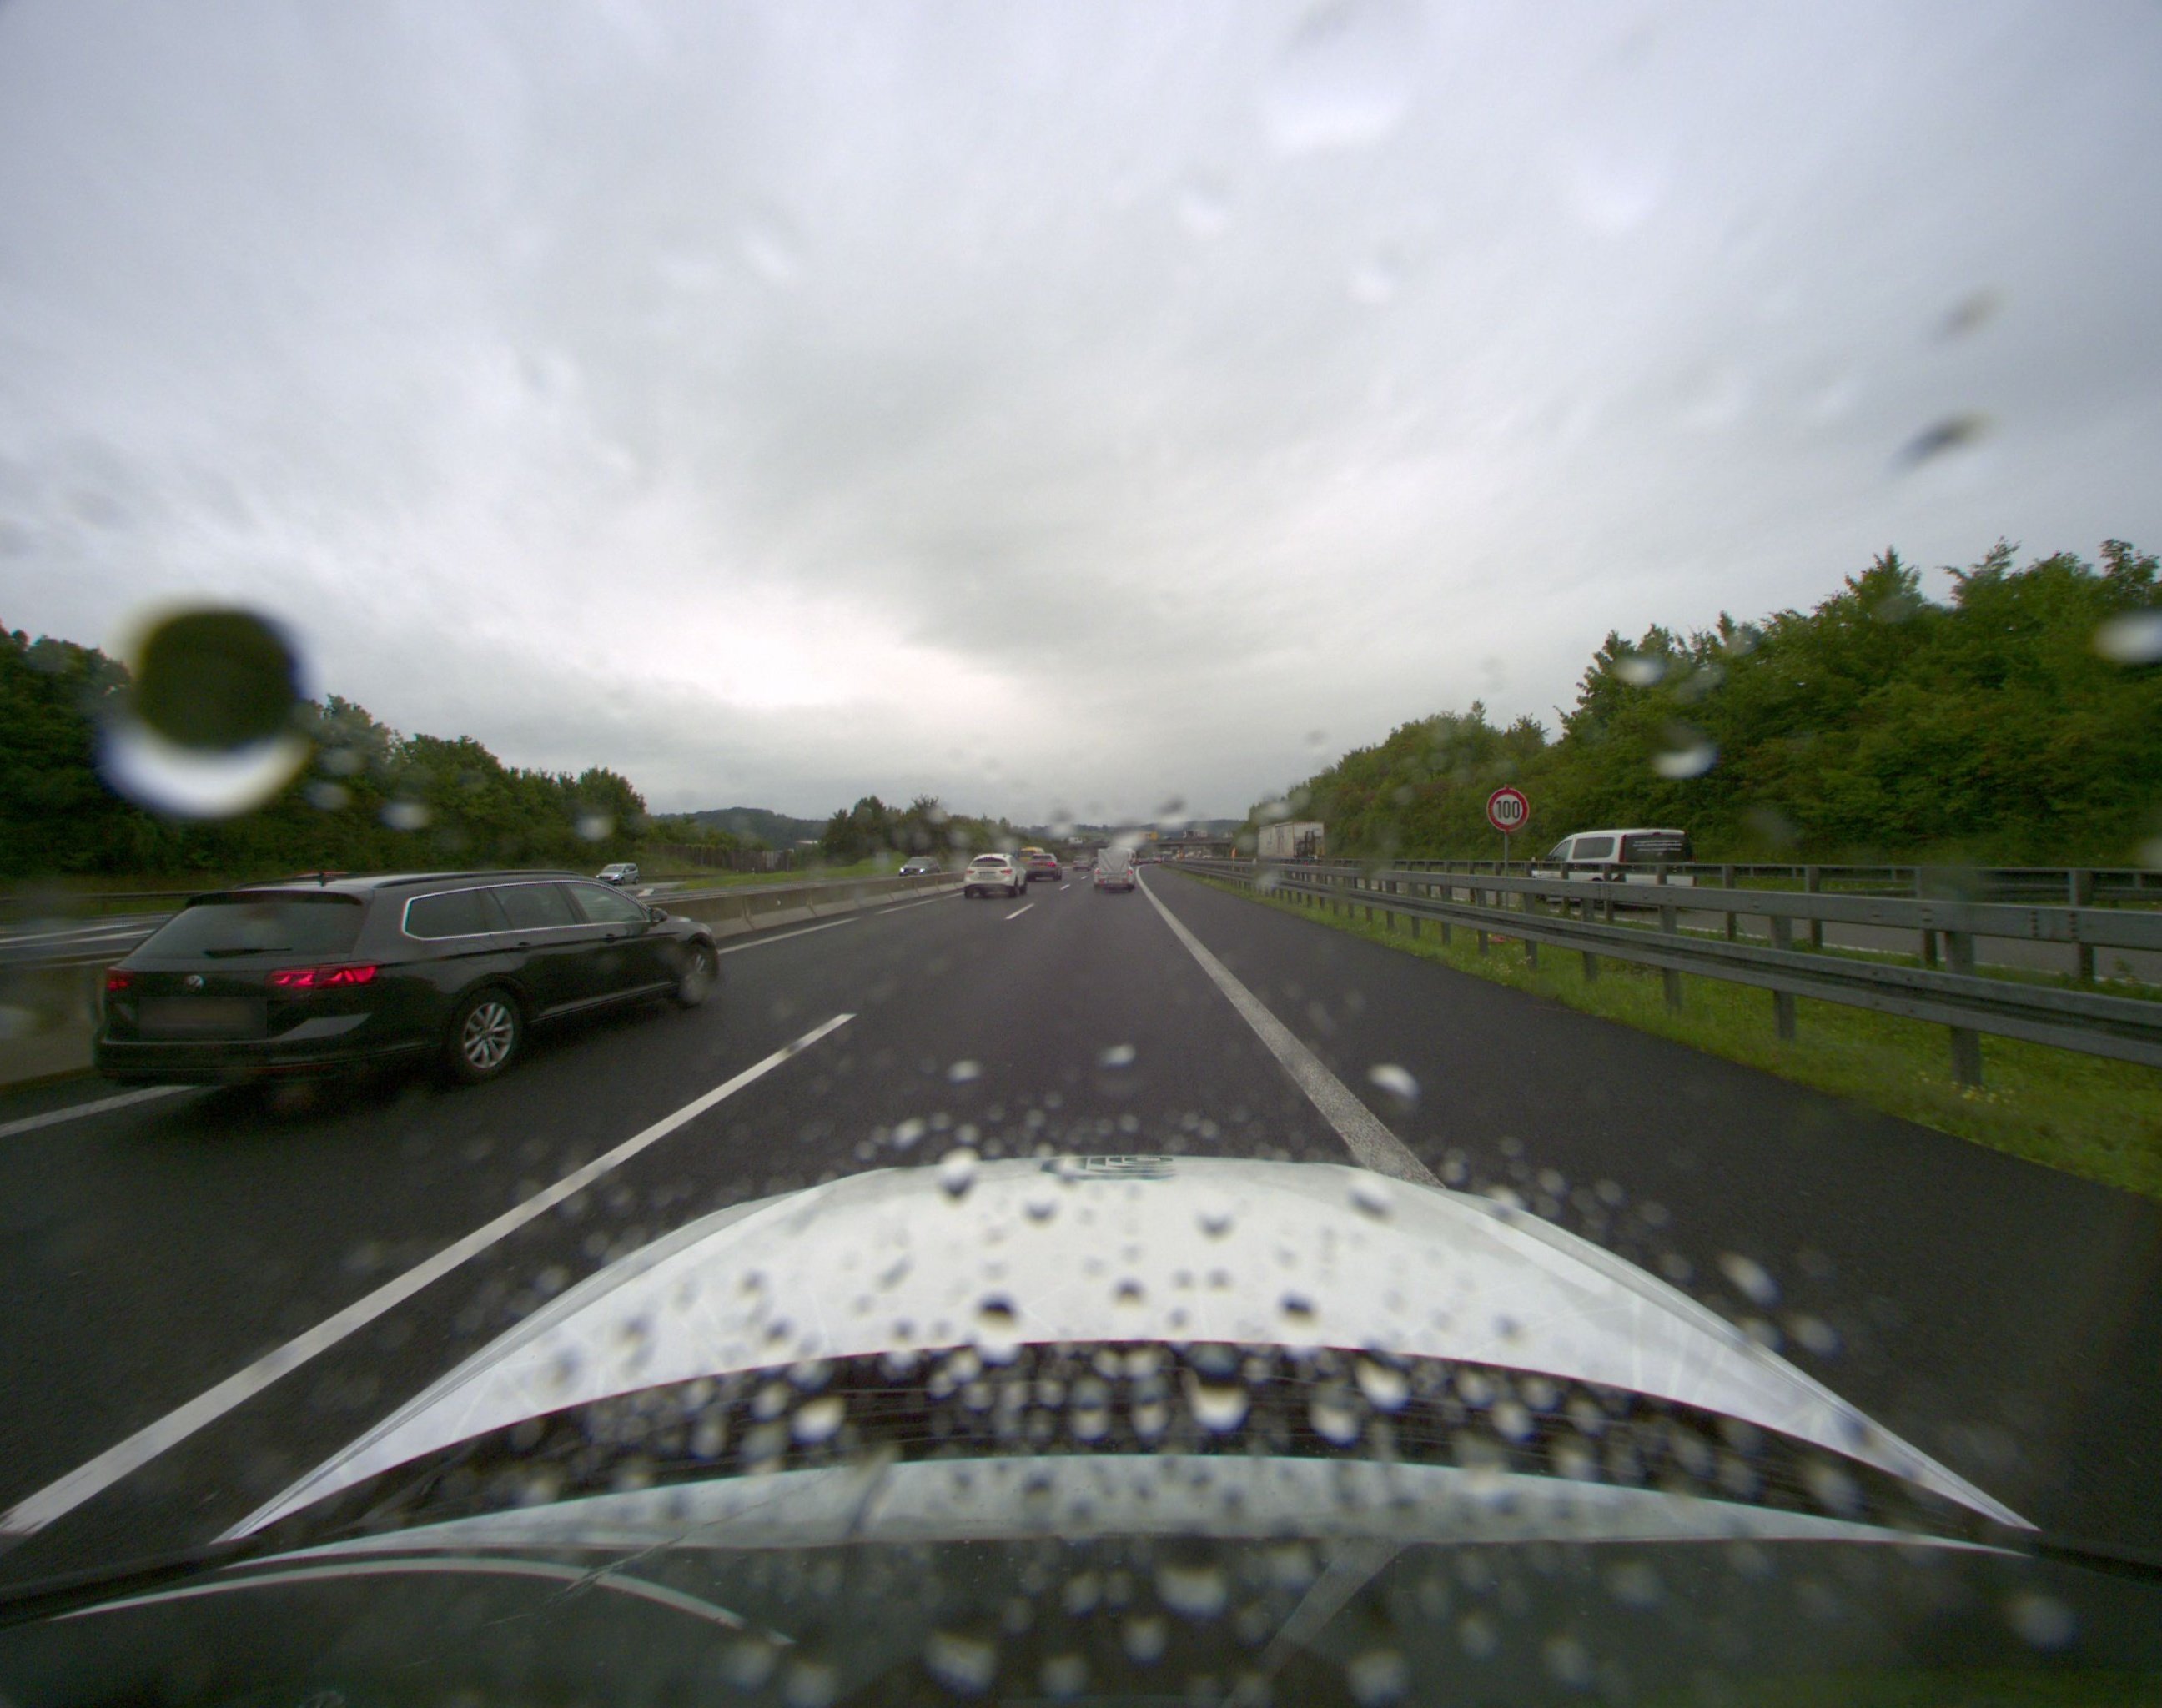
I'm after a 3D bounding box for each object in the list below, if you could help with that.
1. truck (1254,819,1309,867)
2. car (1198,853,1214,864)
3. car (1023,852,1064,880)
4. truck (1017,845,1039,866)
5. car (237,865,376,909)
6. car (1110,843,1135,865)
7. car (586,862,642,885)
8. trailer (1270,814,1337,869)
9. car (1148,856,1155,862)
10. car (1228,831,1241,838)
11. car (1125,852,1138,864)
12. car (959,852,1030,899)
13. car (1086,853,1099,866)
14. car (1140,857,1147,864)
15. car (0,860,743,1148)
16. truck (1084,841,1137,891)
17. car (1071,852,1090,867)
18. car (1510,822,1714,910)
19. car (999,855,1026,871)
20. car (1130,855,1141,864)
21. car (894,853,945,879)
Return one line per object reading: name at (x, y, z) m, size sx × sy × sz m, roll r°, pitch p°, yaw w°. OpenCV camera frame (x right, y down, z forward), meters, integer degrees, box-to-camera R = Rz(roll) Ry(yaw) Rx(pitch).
truck at (19.522, -1.019, 79.947) m, size 3.422 × 4.289 × 10.429 m, roll -1°, pitch 0°, yaw 4°
car at (18.544, 0.655, 120.656) m, size 1.852 × 1.447 × 4.160 m, roll -1°, pitch 0°, yaw 2°
car at (-2.312, 0.727, 51.668) m, size 2.166 × 1.631 × 4.503 m, roll -1°, pitch 0°, yaw 2°
truck at (-8.816, 0.210, 135.459) m, size 2.749 × 3.398 × 5.853 m, roll 0°, pitch 0°, yaw 5°
car at (-34.517, 1.417, 36.520) m, size 2.178 × 1.696 × 4.616 m, roll -1°, pitch 0°, yaw -7°
car at (5.366, -0.011, 104.499) m, size 3.002 × 2.616 × 6.083 m, roll -1°, pitch 0°, yaw 5°
car at (-37.569, 1.557, 65.613) m, size 2.177 × 1.696 × 4.559 m, roll -1°, pitch 0°, yaw -6°
trailer at (18.777, -1.011, 69.532) m, size 3.422 × 4.289 × 10.465 m, roll -1°, pitch 0°, yaw 4°
car at (20.707, 1.543, 239.196) m, size 1.984 × 1.750 × 4.006 m, roll 0°, pitch 0°, yaw 5°
car at (47.159, -5.912, 250.149) m, size 1.851 × 1.915 × 3.956 m, roll 0°, pitch -1°, yaw -35°
car at (8.580, 0.645, 139.607) m, size 1.987 × 2.036 × 4.151 m, roll 0°, pitch 0°, yaw 0°
car at (-3.270, 0.775, 31.584) m, size 1.967 × 1.639 × 4.505 m, roll -1°, pitch 0°, yaw 4°
car at (1.706, 0.780, 120.520) m, size 1.835 × 1.819 × 4.002 m, roll -1°, pitch 0°, yaw 2°
car at (16.247, 1.618, 211.435) m, size 1.984 × 1.750 × 4.004 m, roll 0°, pitch 0°, yaw 4°
car at (-4.889, 0.823, 6.768) m, size 1.892 × 1.497 × 4.855 m, roll -1°, pitch 0°, yaw 3°
truck at (1.443, 0.479, 36.713) m, size 2.009 × 1.985 × 7.223 m, roll -1°, pitch 0°, yaw 5°
car at (-0.047, 0.598, 90.042) m, size 1.893 × 1.613 × 4.019 m, roll -1°, pitch 0°, yaw 2°
car at (12.353, 0.259, 19.398) m, size 1.854 × 1.805 × 4.647 m, roll -1°, pitch 0°, yaw 0°
car at (-7.666, 1.029, 91.728) m, size 2.169 × 1.696 × 4.871 m, roll -1°, pitch 0°, yaw 5°
car at (10.622, 1.097, 158.402) m, size 1.987 × 1.750 × 4.000 m, roll 0°, pitch 0°, yaw 0°
car at (-11.247, 0.783, 57.024) m, size 2.169 × 1.696 × 4.739 m, roll -1°, pitch 0°, yaw 5°
